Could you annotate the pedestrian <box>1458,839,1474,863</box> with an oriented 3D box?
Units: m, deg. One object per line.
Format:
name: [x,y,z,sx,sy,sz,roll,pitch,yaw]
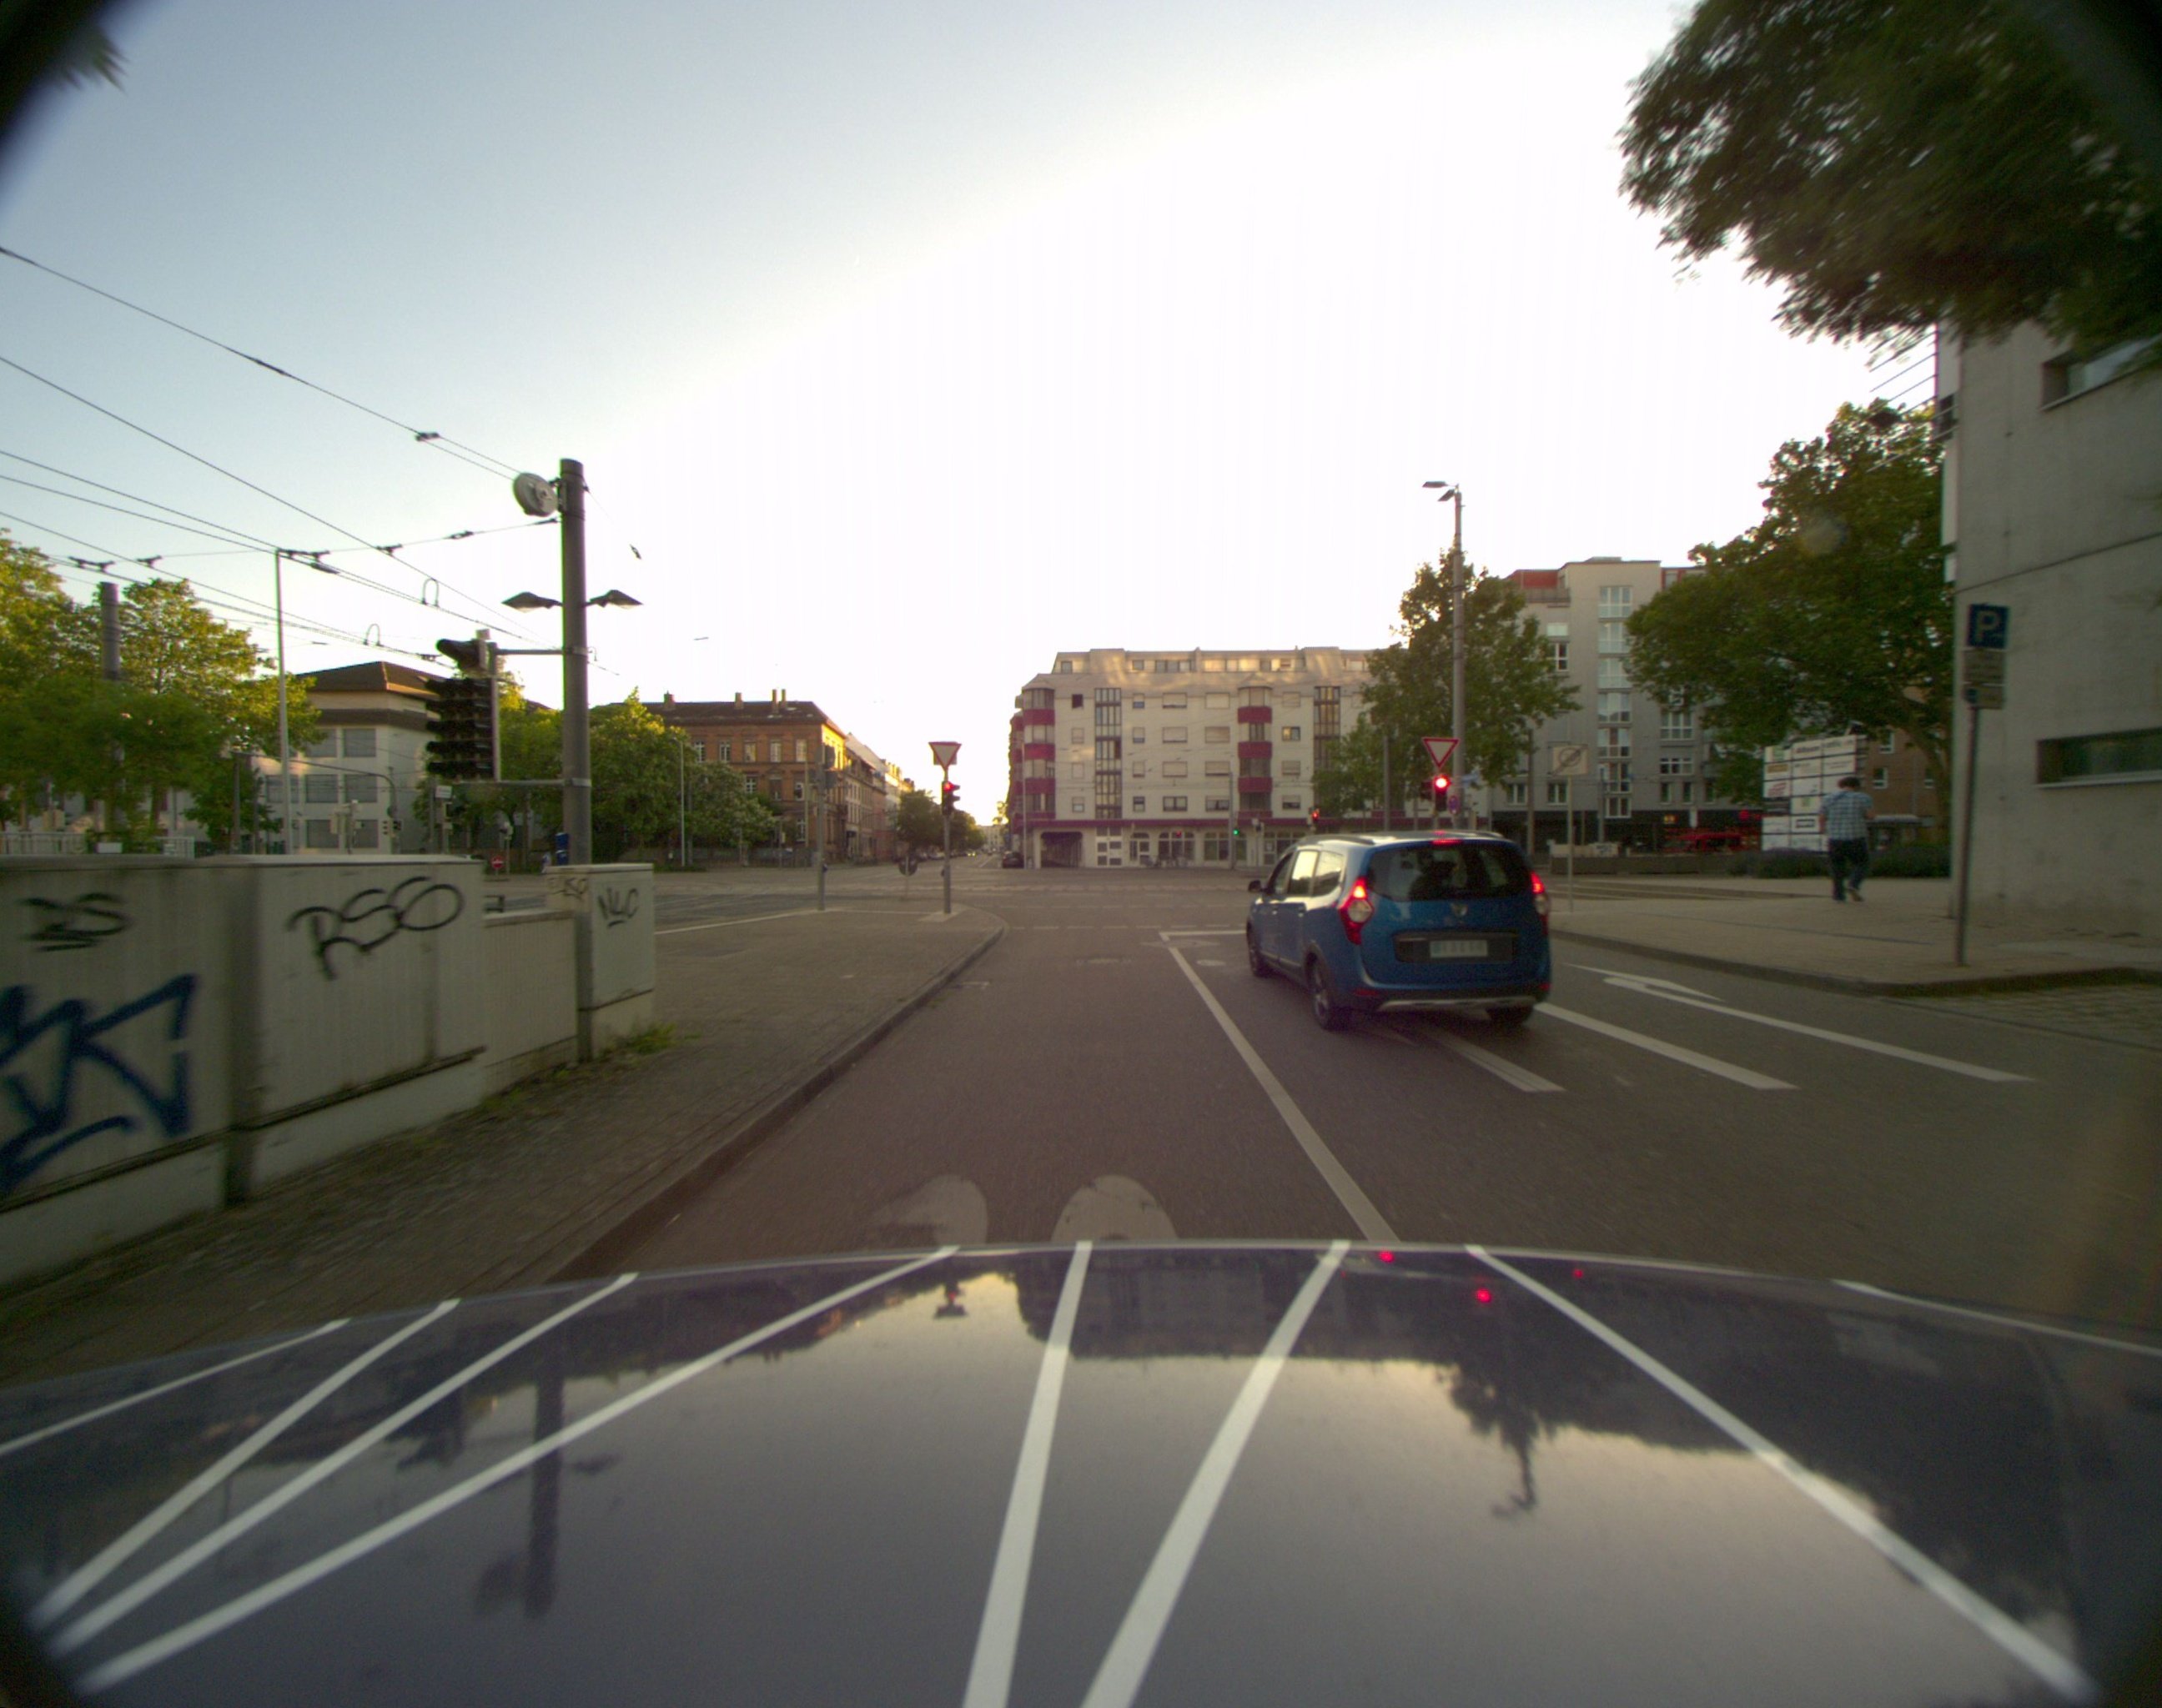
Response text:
pedestrian: [29.773,-0.245,58.762,0.835,1.796,0.692,-1,1,3]

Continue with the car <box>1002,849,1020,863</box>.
car: [-7.294,0.182,79.652,1.786,1.448,4.295,-1,0,-4]

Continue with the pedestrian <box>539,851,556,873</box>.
pedestrian: [-36.781,0.556,52.401,0.580,1.517,0.817,0,1,5]

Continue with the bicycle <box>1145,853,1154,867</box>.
bicycle: [5.185,0.440,57.577,0.515,1.040,1.902,0,0,-1]

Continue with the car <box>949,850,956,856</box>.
car: [-33.426,-0.226,197.475,1.787,1.427,4.293,-1,0,-10]

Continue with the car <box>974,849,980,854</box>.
car: [-32.653,-0.710,239.016,1.786,1.448,4.294,-1,0,-7]

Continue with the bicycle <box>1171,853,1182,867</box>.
bicycle: [7.218,0.481,57.608,0.515,1.040,1.902,0,0,-1]

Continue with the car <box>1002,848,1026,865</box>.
car: [-5.947,0.236,67.713,2.007,1.448,4.295,-1,0,-3]

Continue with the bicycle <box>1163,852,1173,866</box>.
bicycle: [6.618,0.382,57.647,0.515,1.040,1.902,0,0,-1]

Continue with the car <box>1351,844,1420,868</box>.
car: [20.949,0.147,52.345,4.098,1.587,1.666,0,1,1]

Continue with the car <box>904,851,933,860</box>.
car: [-27.367,0.225,127.904,4.706,1.477,1.905,-1,1,-10]

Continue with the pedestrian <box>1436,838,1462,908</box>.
pedestrian: [9.068,0.448,18.718,0.545,1.691,0.709,0,1,29]

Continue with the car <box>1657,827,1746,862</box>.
car: [46.330,-0.677,56.796,5.077,2.526,1.852,-1,1,2]

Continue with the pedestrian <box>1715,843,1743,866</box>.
pedestrian: [41.901,0.012,49.145,0.997,1.445,0.938,-1,1,1]

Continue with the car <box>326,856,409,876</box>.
car: [-54.160,0.925,57.713,4.357,1.416,2.000,-1,1,-1]

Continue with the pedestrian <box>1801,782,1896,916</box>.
pedestrian: [11.475,-0.066,11.364,0.879,1.872,0.699,-8,1,-33]

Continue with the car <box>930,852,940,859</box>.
car: [-29.161,0.321,151.904,1.787,1.448,4.293,-1,0,-10]

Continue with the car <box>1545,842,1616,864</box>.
car: [36.357,-0.074,55.363,4.098,1.587,1.666,0,1,1]

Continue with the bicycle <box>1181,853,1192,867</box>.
bicycle: [7.947,0.432,57.361,0.515,1.040,1.902,0,0,-1]

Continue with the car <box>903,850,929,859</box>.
car: [-25.973,0.061,119.714,3.775,1.477,1.905,-1,1,-10]

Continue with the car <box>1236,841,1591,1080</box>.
car: [2.793,0.752,7.531,1.752,1.668,4.273,-1,0,2]

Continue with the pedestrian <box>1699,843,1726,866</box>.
pedestrian: [40.867,0.036,49.178,0.997,1.445,0.938,-1,1,1]

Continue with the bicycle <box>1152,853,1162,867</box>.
bicycle: [5.768,0.447,57.578,0.515,1.040,1.902,0,0,-1]

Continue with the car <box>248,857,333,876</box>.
car: [-59.958,0.933,57.679,4.229,1.416,2.000,-1,1,-1]

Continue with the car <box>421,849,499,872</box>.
car: [-47.316,0.481,57.960,4.229,1.623,2.000,-1,1,-1]
